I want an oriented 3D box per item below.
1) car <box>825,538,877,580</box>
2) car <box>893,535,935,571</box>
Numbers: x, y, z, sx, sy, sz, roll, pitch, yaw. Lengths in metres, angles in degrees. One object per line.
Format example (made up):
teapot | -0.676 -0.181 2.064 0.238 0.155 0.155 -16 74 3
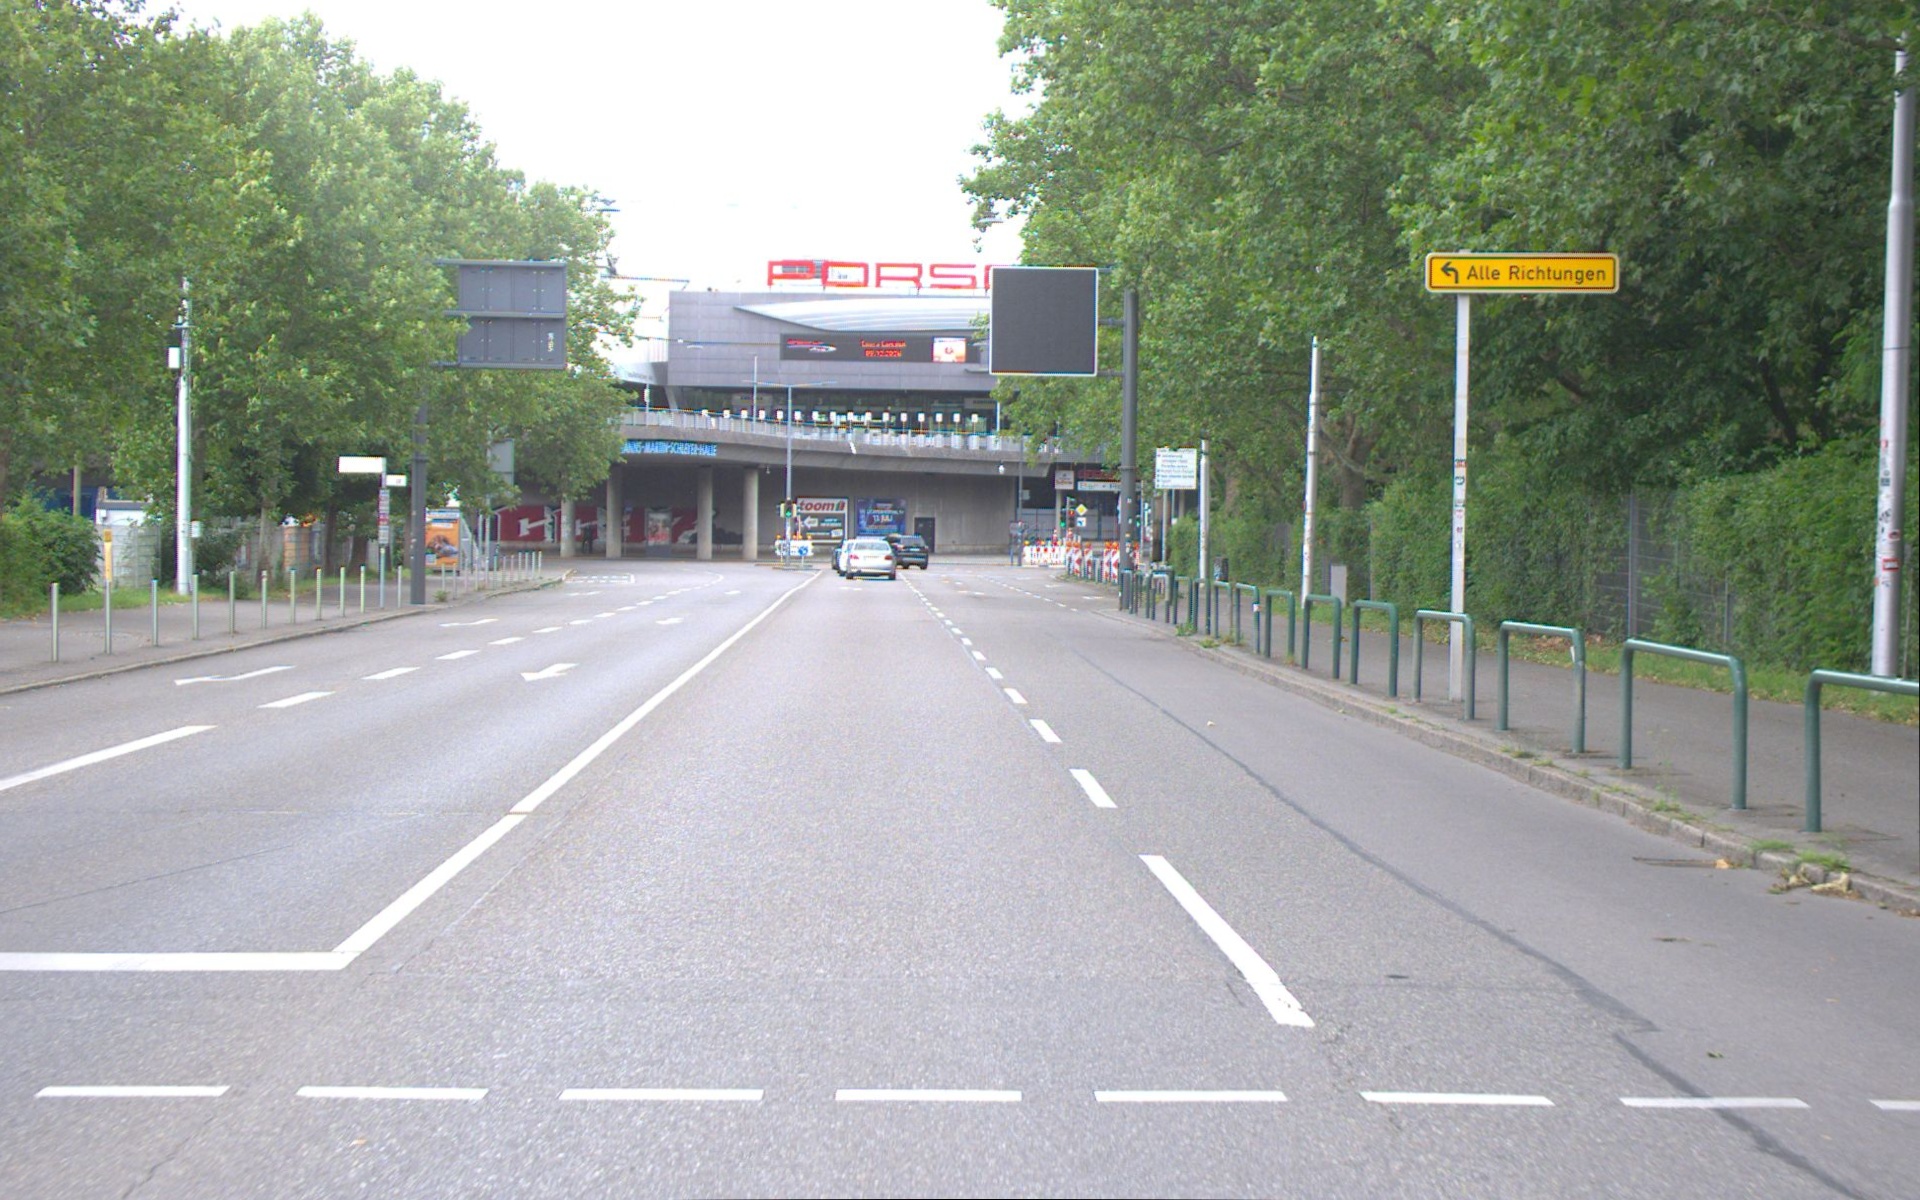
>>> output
car | -4.024 -1.528 127.286 1.778 1.455 3.822 3 1 0
car | -2.240 -2.314 169.160 2.007 1.693 4.070 1 1 0
